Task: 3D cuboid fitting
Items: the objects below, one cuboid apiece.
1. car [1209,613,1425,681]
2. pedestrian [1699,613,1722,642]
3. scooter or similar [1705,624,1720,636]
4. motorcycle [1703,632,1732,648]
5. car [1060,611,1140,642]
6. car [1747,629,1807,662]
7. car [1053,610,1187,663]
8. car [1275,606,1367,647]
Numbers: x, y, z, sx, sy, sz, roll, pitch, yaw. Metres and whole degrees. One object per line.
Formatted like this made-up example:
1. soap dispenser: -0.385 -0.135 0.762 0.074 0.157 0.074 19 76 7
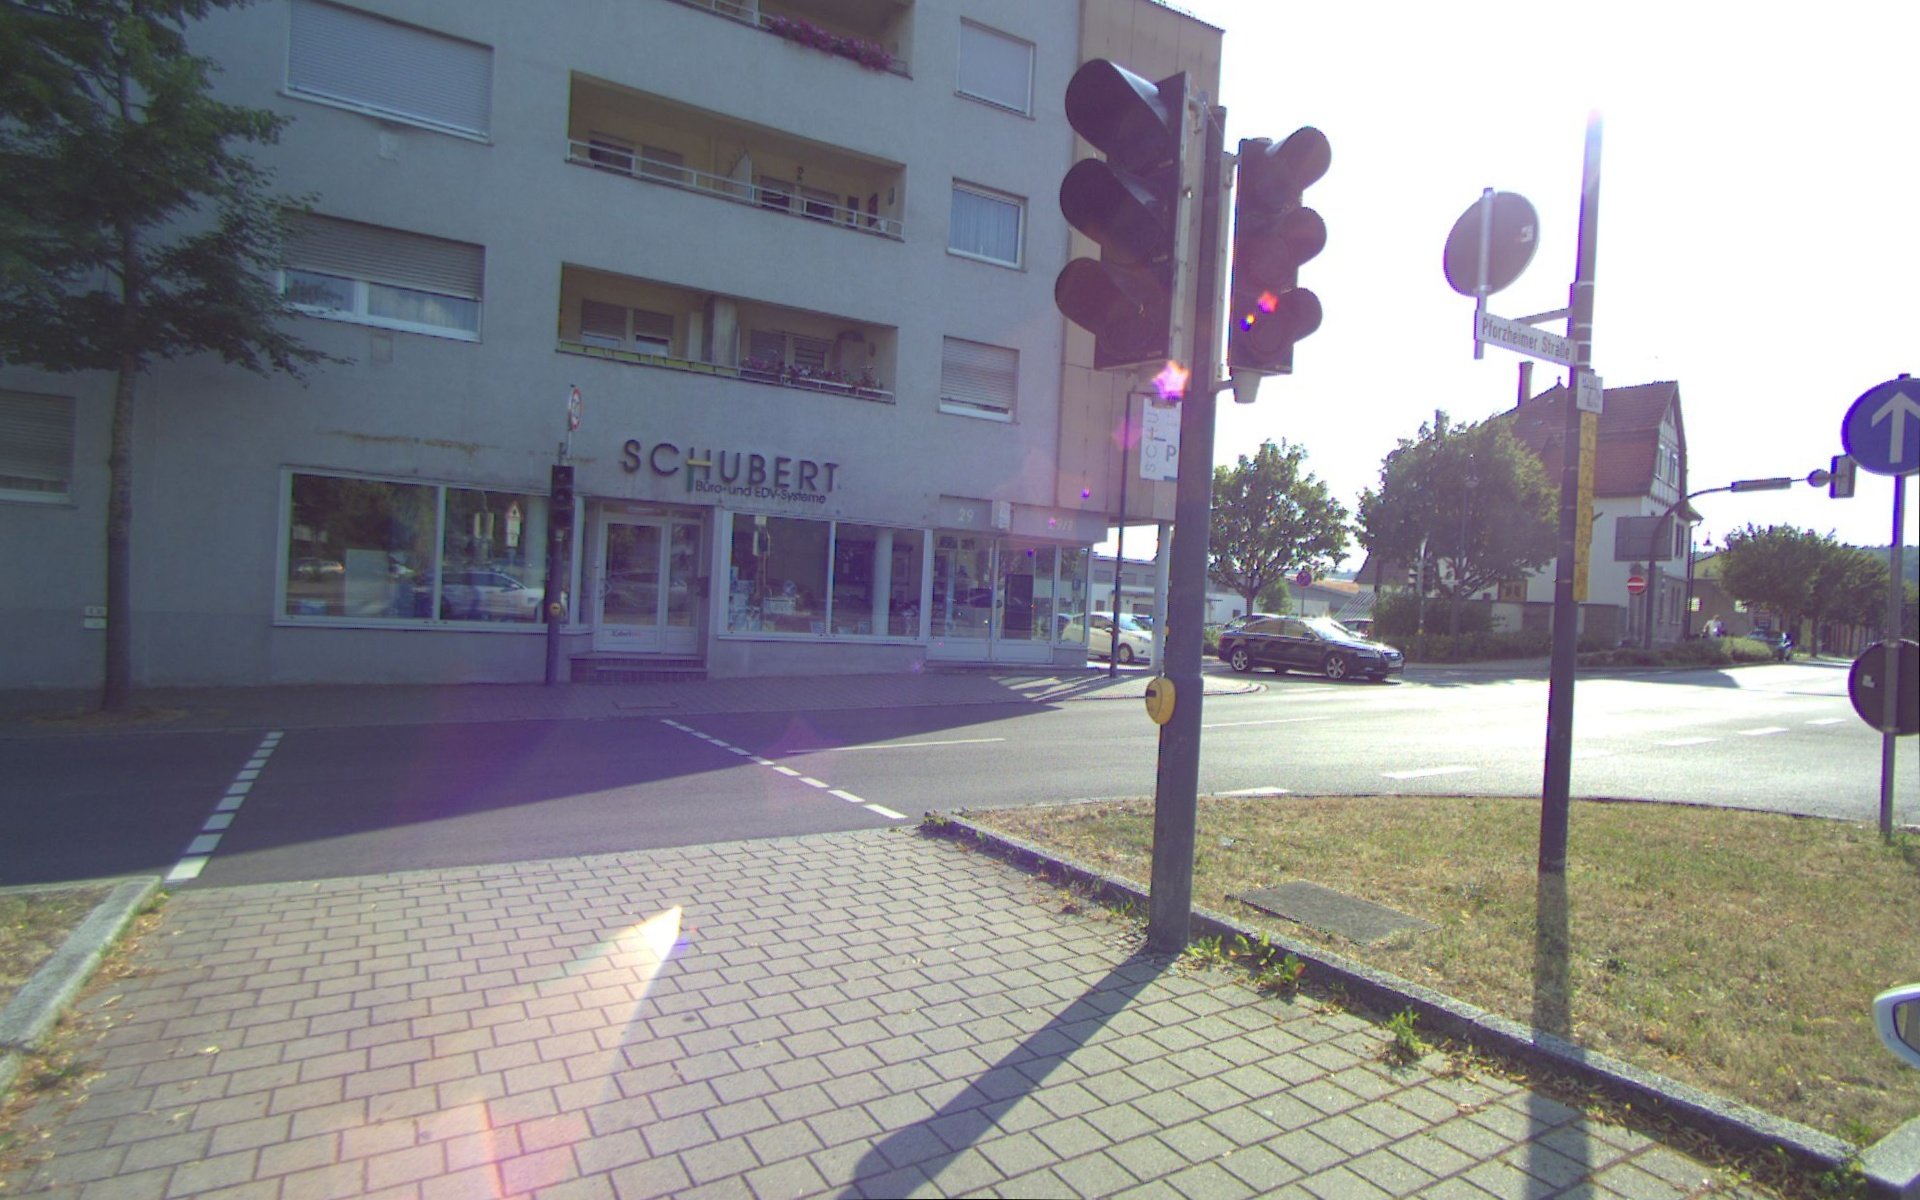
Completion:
1. car: 8.682 1.105 24.850 1.898 1.455 4.827 2 -1 -35
2. pedestrian: 37.415 1.385 50.083 0.702 1.413 0.804 2 0 -44
3. scooter or similar: 36.814 1.463 49.119 1.037 0.590 0.439 2 0 -45
4. motorcycle: 55.217 2.933 73.212 1.835 1.083 0.517 2 0 -7
5. car: 6.900 1.303 49.735 1.737 1.418 3.609 2 -1 -45
6. car: 41.907 2.318 51.490 4.104 1.473 1.739 2 4 -43
7. car: 4.749 1.059 30.233 1.850 1.455 3.786 2 -1 -36
8. car: 15.398 1.114 42.932 1.737 1.661 3.253 2 -1 -45
